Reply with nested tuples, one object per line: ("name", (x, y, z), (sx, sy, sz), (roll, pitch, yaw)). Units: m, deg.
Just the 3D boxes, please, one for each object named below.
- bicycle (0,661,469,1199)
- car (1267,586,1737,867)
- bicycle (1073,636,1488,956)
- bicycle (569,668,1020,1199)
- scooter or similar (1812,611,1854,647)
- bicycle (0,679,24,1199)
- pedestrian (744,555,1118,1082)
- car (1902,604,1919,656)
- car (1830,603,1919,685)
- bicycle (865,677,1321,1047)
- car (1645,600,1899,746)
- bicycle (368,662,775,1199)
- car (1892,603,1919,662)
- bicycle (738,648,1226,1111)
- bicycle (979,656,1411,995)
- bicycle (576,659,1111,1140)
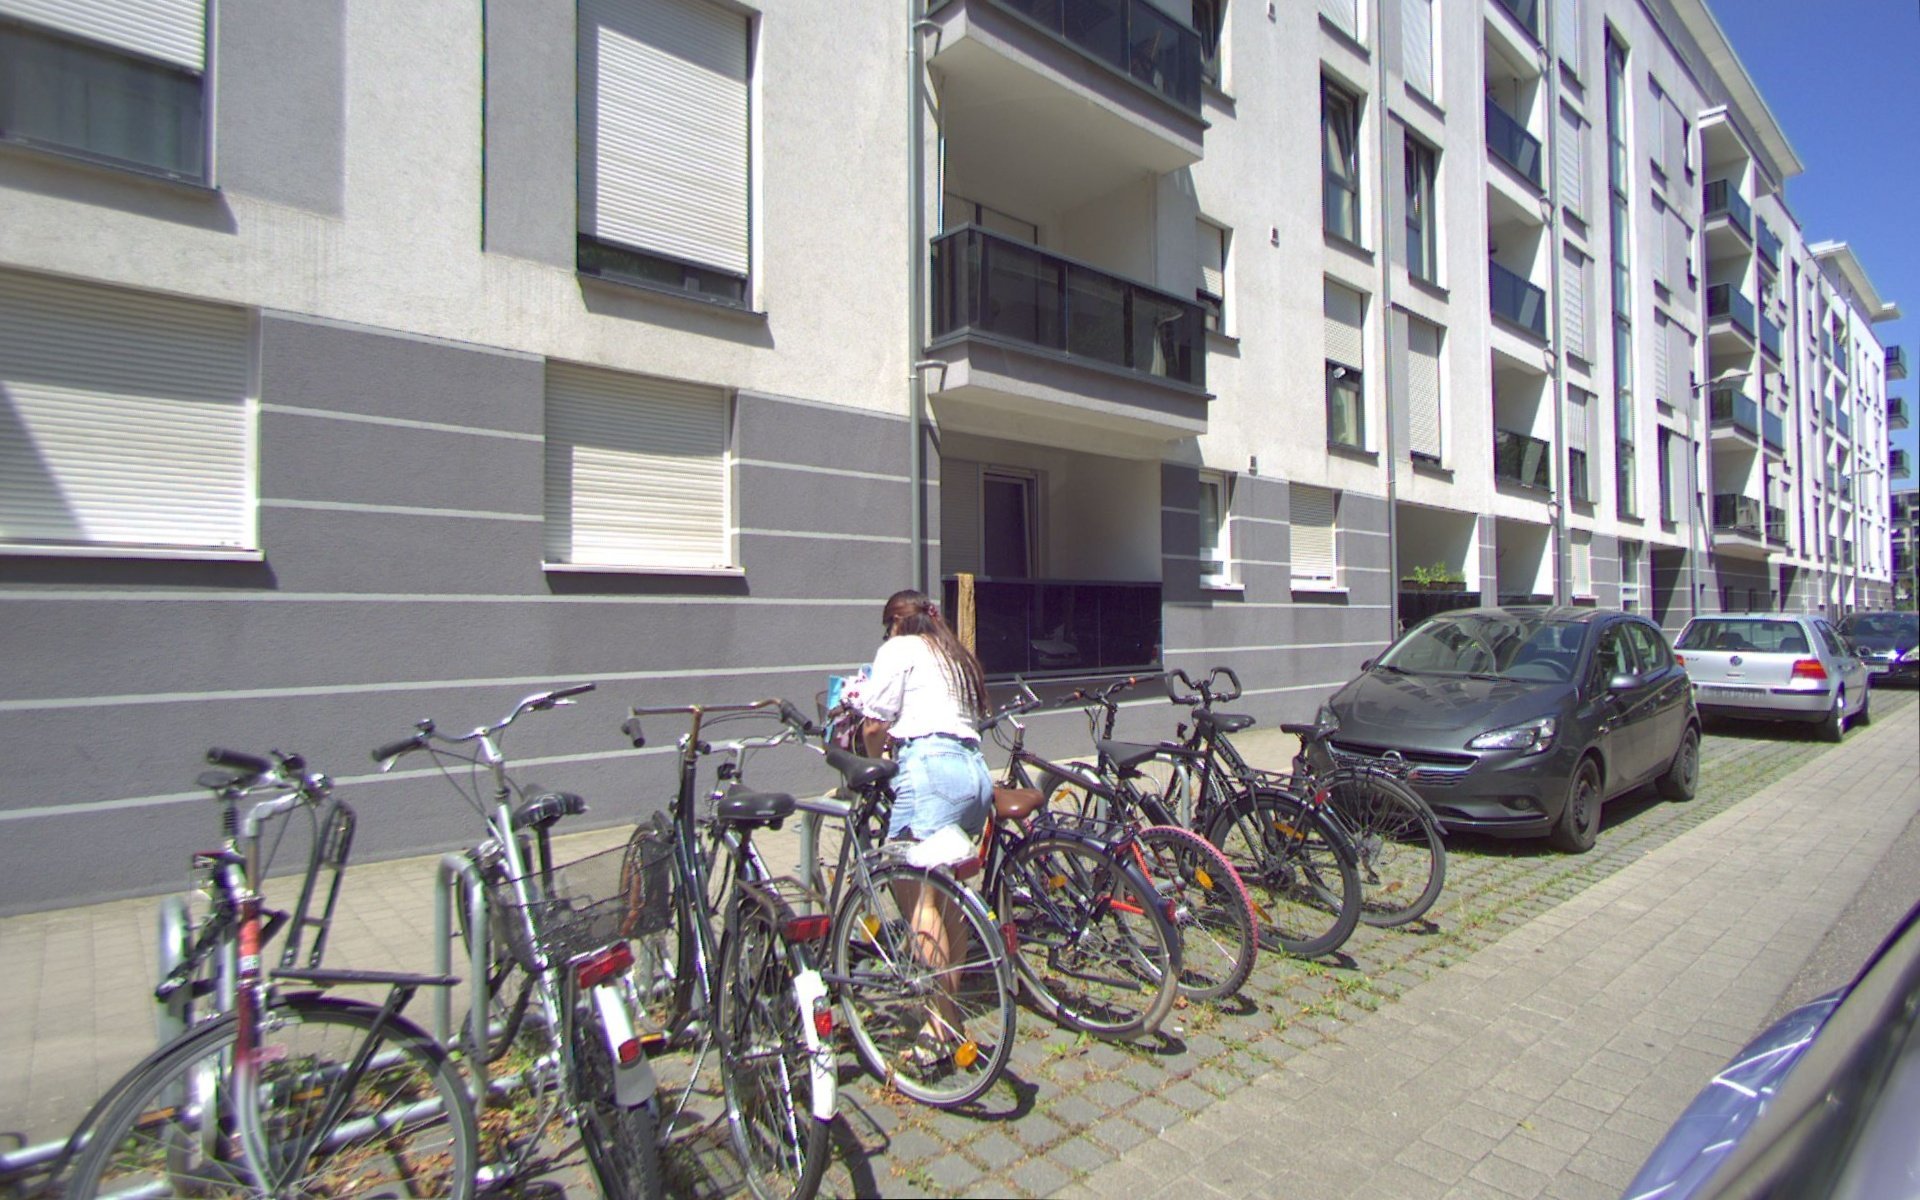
("bicycle", (-1.717, 0.804, 2.267), (0.696, 1.233, 1.552), (1, -1, -43))
("car", (4.163, 0.691, 7.465), (4.155, 1.504, 1.741), (1, -1, -42))
("bicycle", (1.513, 0.832, 5.050), (0.704, 1.233, 1.871), (1, -1, -44))
("bicycle", (-0.627, 0.836, 2.938), (0.597, 1.147, 1.931), (0, 0, -32))
("scooter or similar", (31.136, 1.026, 36.091), (1.498, 1.241, 0.548), (0, -2, -27))
("bicycle", (-2.165, 0.811, 1.718), (0.675, 1.208, 1.864), (1, 0, -38))
("pedestrian", (-0.122, 0.635, 3.594), (1.177, 1.534, 0.678), (0, -1, 39))
("car", (29.773, 0.888, 30.442), (4.184, 1.506, 1.740), (0, 0, -42))
("car", (18.753, 0.819, 20.193), (4.047, 1.481, 1.645), (0, 0, -42))
("bicycle", (0.434, 0.908, 4.132), (0.550, 1.048, 1.924), (1, -1, -44))
("car", (10.358, 0.780, 12.794), (4.275, 1.524, 1.837), (0, 0, -42))
("bicycle", (-1.133, 0.820, 2.616), (0.625, 1.194, 1.931), (0, 0, -32))
("car", (25.864, 0.841, 26.646), (3.612, 1.504, 1.598), (1, 0, -42))
("bicycle", (-0.028, 0.830, 3.673), (1.921, 1.233, 0.454), (0, -1, 40))
("bicycle", (0.974, 0.863, 4.551), (0.735, 1.118, 1.787), (1, 0, -44))
("bicycle", (-0.446, 0.811, 3.280), (1.824, 1.163, 0.455), (0, -1, 31))
